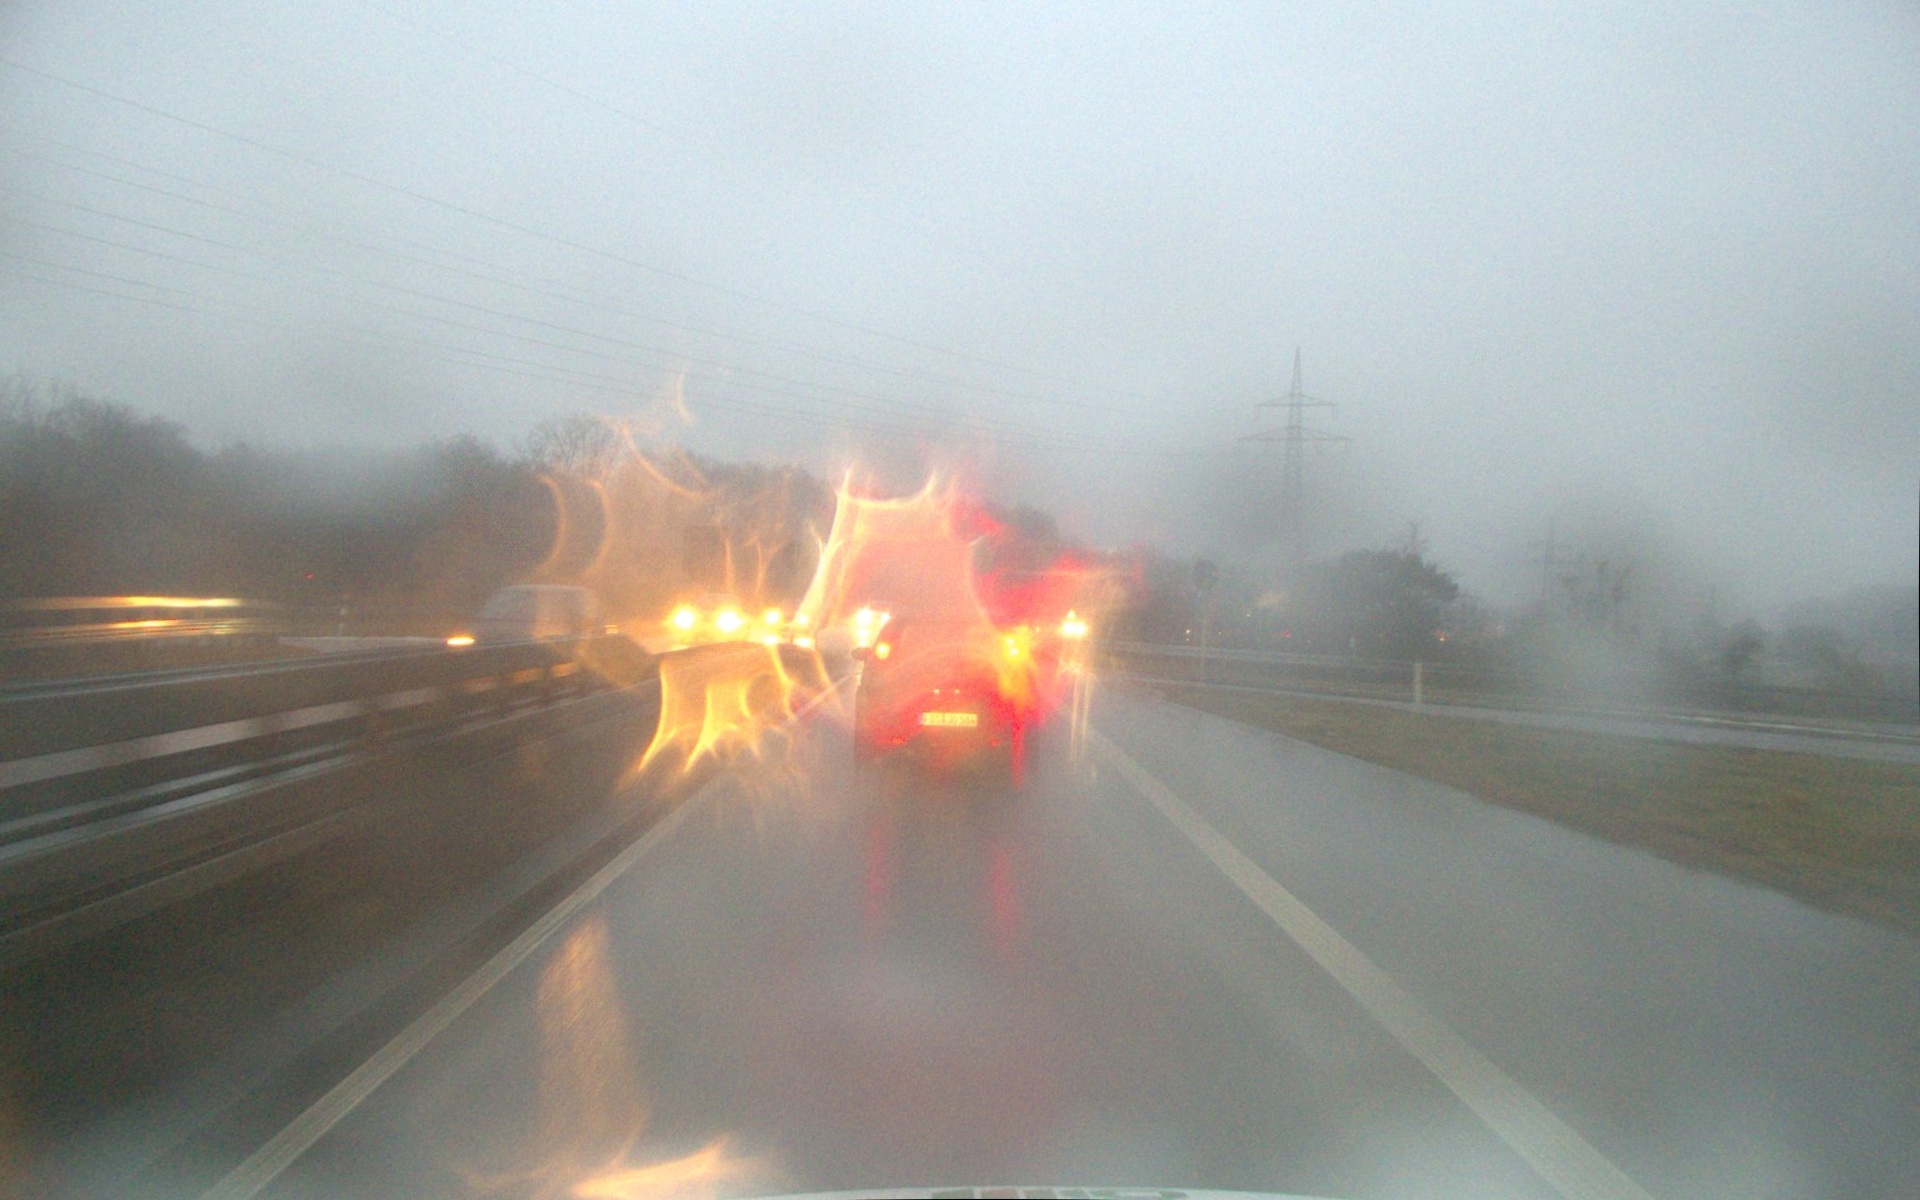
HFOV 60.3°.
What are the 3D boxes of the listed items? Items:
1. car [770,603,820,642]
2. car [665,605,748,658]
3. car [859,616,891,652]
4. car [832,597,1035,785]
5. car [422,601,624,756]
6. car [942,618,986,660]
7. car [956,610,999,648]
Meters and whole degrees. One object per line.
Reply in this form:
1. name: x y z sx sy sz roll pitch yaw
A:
1. car: -6.701 0.896 67.480 1.613 1.528 4.000 1 -1 0
2. car: -7.640 0.932 50.185 1.953 1.498 4.470 1 -1 -2
3. car: -5.370 2.136 105.209 1.833 2.175 5.178 1 -1 -1
4. car: -0.214 0.783 15.913 1.695 1.559 4.042 0 -1 0
5. car: -6.669 1.127 25.844 1.954 2.048 4.995 4 -1 -4
6. car: 0.176 1.781 76.676 1.906 1.775 3.999 4 -1 0
7. car: 1.027 1.656 94.416 1.907 1.773 4.002 10 0 6
